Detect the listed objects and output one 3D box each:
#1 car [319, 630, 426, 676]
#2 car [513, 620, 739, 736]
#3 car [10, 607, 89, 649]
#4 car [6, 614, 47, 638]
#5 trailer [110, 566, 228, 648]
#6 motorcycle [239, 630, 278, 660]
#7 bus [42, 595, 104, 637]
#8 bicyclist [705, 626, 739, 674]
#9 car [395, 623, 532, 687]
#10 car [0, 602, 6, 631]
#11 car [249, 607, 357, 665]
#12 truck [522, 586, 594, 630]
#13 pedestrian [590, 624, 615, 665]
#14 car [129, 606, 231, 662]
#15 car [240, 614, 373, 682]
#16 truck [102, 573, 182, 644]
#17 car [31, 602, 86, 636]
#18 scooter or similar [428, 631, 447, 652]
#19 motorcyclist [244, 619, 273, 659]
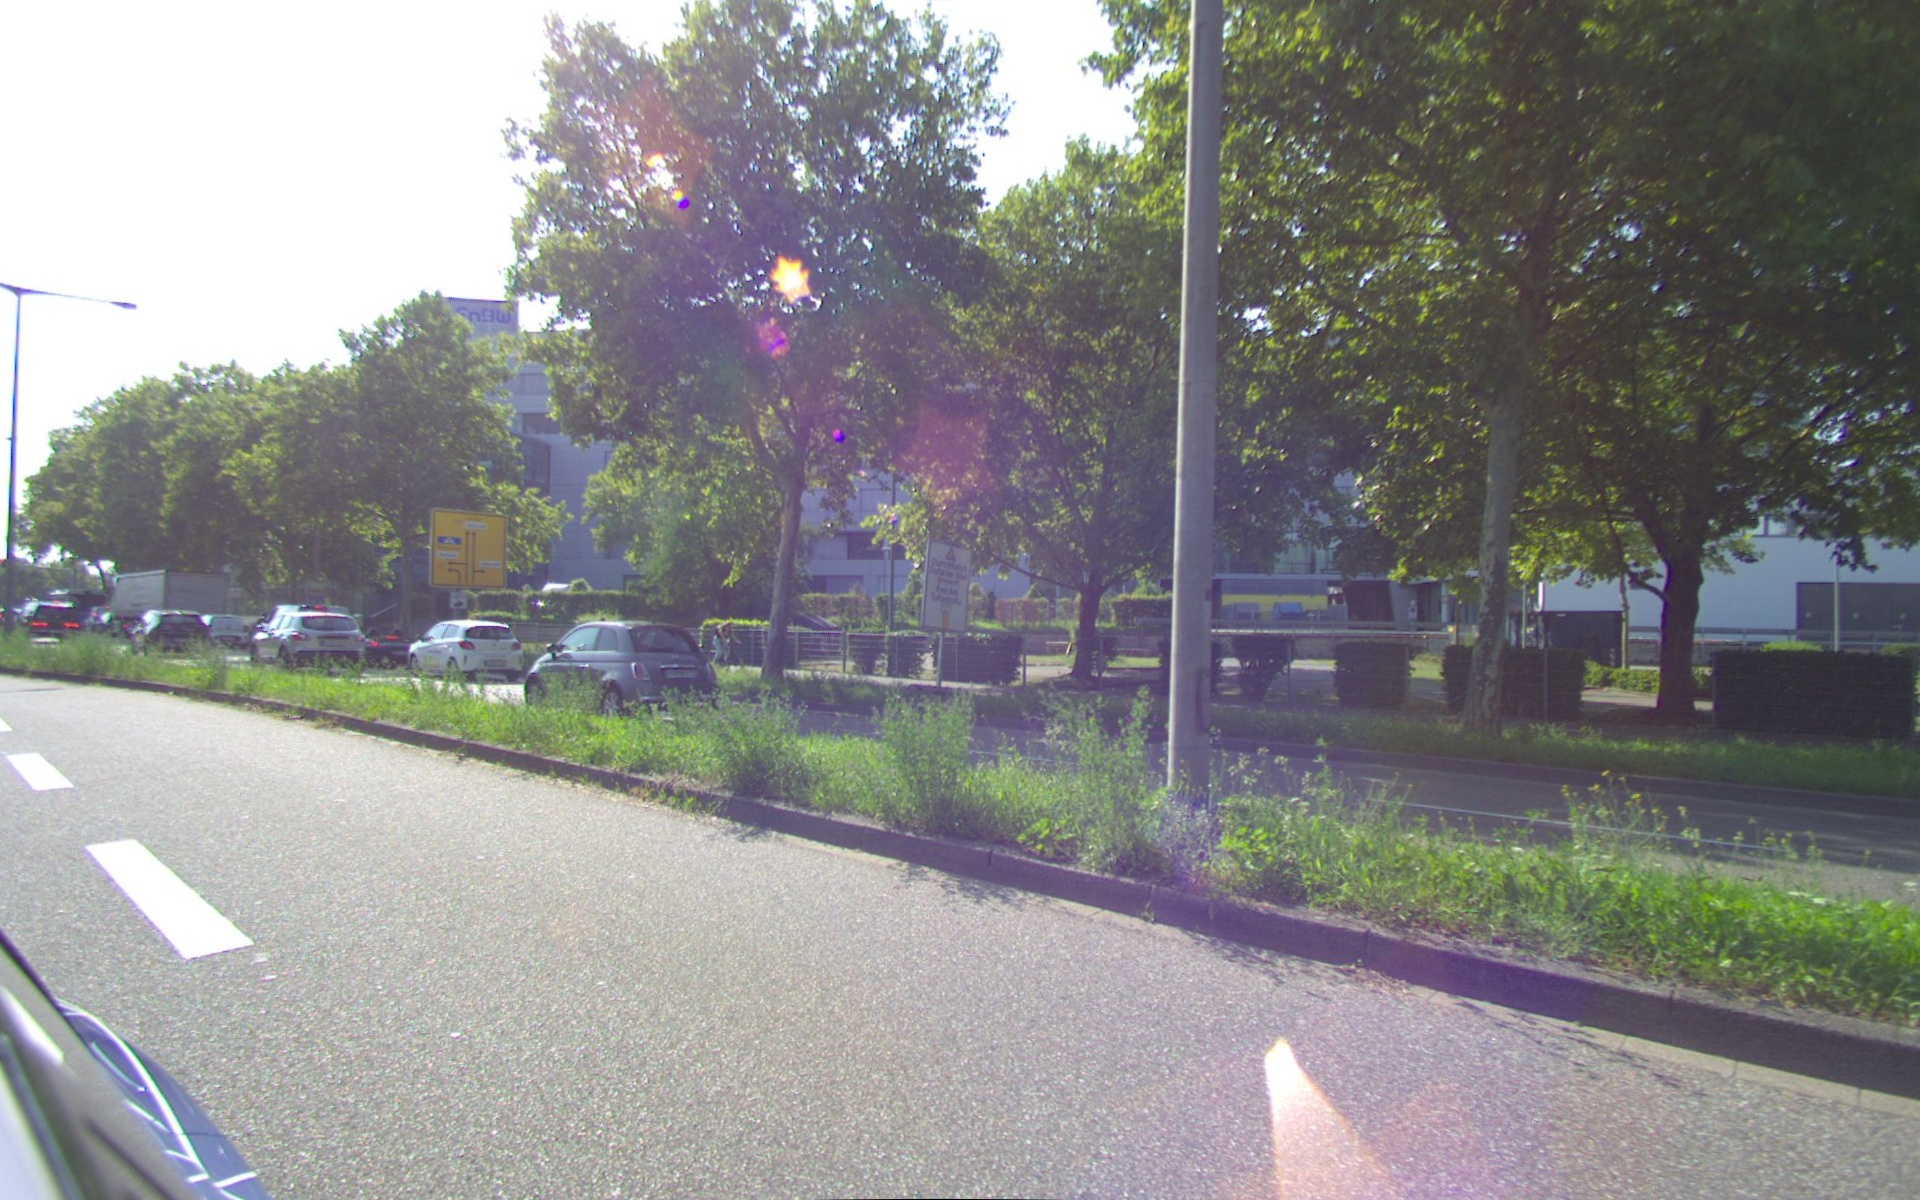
[{"bbox_3d":[-17.947,1.596,30.828,4.097,1.272,1.770,-1,-3,45],"label":"car"},{"bbox_3d":[-5.002,1.045,14.968,3.491,1.497,1.658,-1,-1,42],"label":"car"},{"bbox_3d":[-40.245,1.227,44.718,4.474,1.773,1.973,-1,-3,40],"label":"car"},{"bbox_3d":[-64.323,1.781,69.727,4.140,1.540,1.676,-1,-4,43],"label":"car"},{"bbox_3d":[-42.250,0.460,53.751,13.811,3.851,2.604,-1,-4,43],"label":"trailer"},{"bbox_3d":[-27.991,1.787,40.357,2.468,1.115,0.786,-1,-1,44],"label":"motorcycle"},{"bbox_3d":[-70.096,1.233,79.855,12.313,3.103,2.561,-1,-1,43],"label":"bus"},{"bbox_3d":[-7.317,1.536,31.102,0.840,1.450,0.641,-1,-3,42],"label":"bicyclist"},{"bbox_3d":[-12.798,1.354,25.999,3.998,1.493,1.772,-1,-2,41],"label":"car"},{"bbox_3d":[-60.373,1.011,62.358,4.586,1.737,1.932,-2,-4,43],"label":"car"},{"bbox_3d":[-23.232,1.247,35.697,4.969,1.873,1.963,-1,-4,43],"label":"car"},{"bbox_3d":[-27.466,0.601,69.399,2.211,2.883,5.896,0,-1,5],"label":"truck"},{"bbox_3d":[-14.631,1.821,41.428,0.934,1.665,0.610,-1,-1,43],"label":"pedestrian"},{"bbox_3d":[-26.895,1.162,34.856,4.306,1.773,1.972,-1,-4,42],"label":"car"},{"bbox_3d":[-16.865,1.187,26.059,4.108,1.606,1.859,-1,-3,42],"label":"car"},{"bbox_3d":[-46.987,0.533,58.095,5.891,3.849,2.579,-1,-4,43],"label":"truck"},{"bbox_3d":[-55.274,1.159,62.026,5.035,1.968,1.972,-1,-3,42],"label":"car"},{"bbox_3d":[-28.452,2.252,55.087,1.381,1.136,0.503,-1,-1,44],"label":"scooter or similar"},{"bbox_3d":[-27.914,1.555,40.290,0.922,1.566,0.769,-1,-1,44],"label":"motorcyclist"}]
